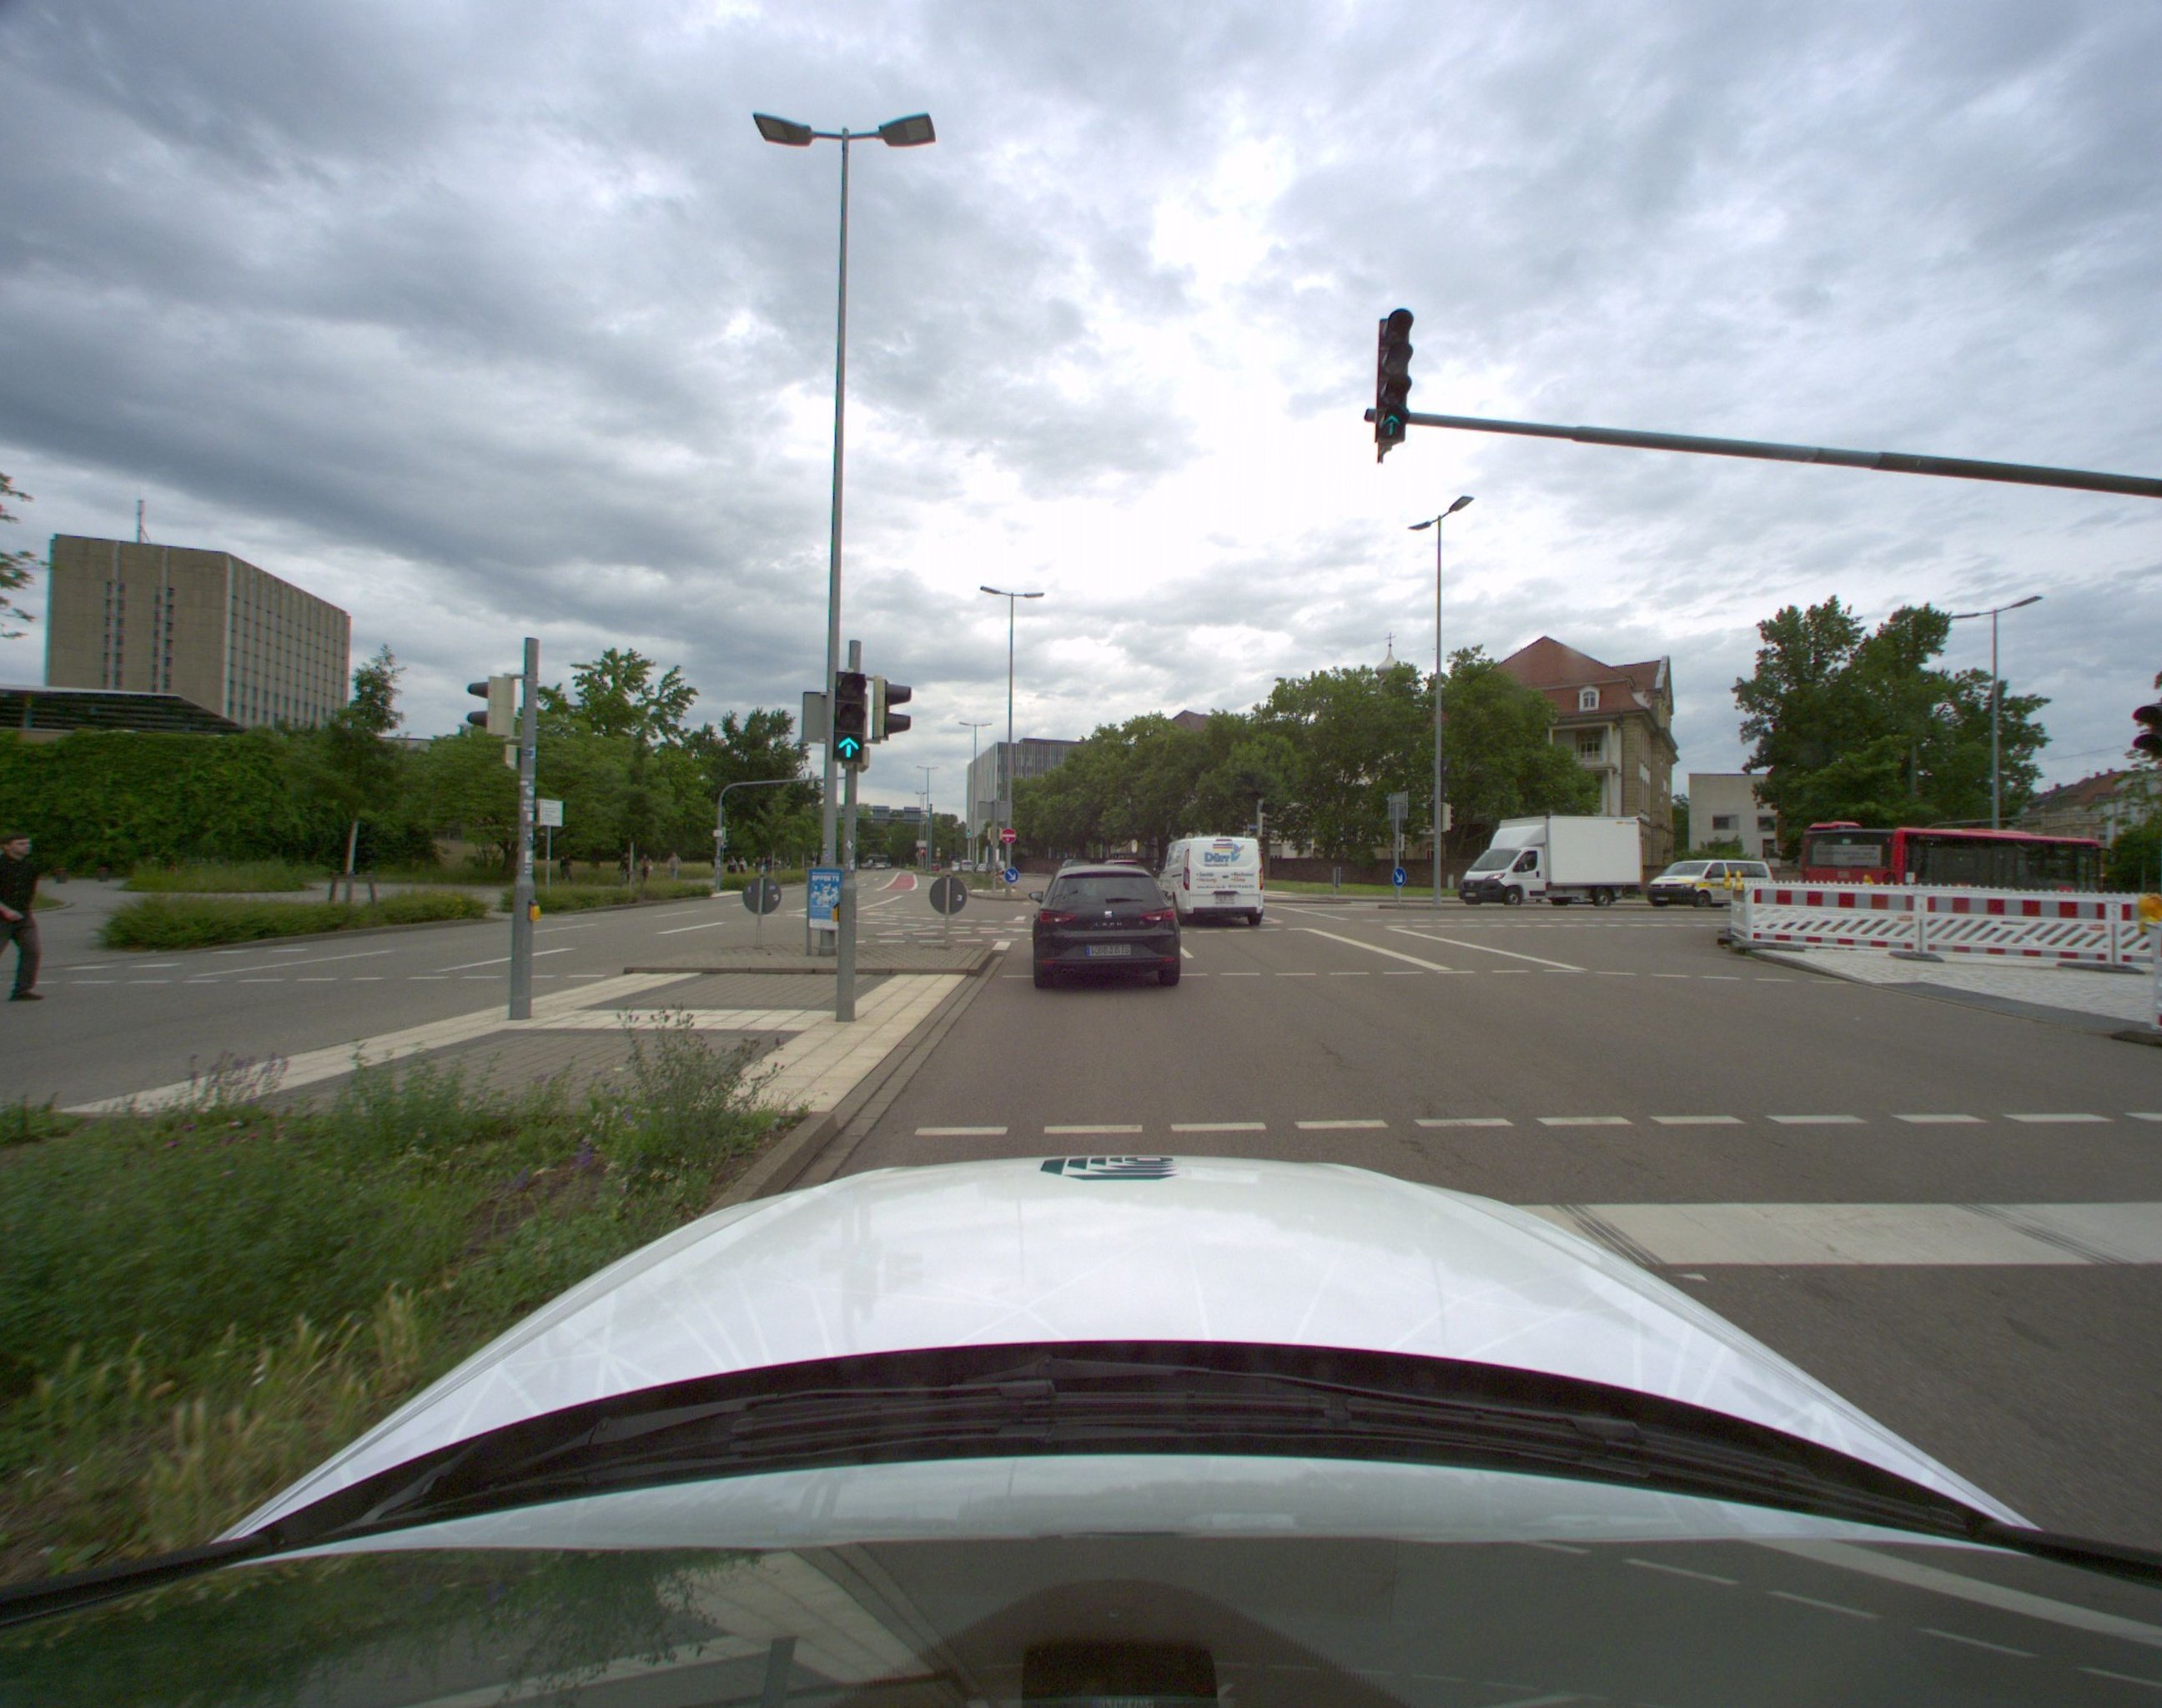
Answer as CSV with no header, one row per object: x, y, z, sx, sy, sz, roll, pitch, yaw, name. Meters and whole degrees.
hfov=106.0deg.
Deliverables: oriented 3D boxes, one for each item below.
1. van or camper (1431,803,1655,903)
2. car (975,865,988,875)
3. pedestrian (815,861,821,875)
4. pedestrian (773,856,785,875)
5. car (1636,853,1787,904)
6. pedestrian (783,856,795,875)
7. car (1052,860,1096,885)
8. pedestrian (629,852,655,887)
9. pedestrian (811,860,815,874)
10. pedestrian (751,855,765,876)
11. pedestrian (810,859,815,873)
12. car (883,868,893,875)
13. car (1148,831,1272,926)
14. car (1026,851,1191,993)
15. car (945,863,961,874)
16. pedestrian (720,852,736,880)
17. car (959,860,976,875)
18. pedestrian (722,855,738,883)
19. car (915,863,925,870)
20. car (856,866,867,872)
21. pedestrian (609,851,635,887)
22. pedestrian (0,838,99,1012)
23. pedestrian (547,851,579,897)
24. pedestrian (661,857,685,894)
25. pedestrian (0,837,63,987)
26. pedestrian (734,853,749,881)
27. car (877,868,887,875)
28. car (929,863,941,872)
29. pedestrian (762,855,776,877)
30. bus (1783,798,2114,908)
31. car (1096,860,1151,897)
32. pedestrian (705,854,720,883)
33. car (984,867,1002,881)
16.660,0.046,29.464,7.143,3.332,2.861,1,-2,-16,van or camper
-14.577,2.317,119.364,1.528,1.365,2.954,1,-1,-15,car
-38.369,2.000,118.852,0.721,2.014,0.780,1,-1,-6,pedestrian
-29.443,1.106,79.303,0.919,1.779,1.060,1,-1,-11,pedestrian
24.459,0.991,31.630,4.998,1.865,1.989,1,-4,-16,car
-28.539,1.110,79.501,0.919,1.779,1.060,1,-1,-11,pedestrian
-0.504,1.189,53.993,1.996,1.566,4.185,1,-1,-14,car
-22.125,0.788,41.092,0.753,1.713,1.046,0,-1,-3,pedestrian
-42.306,2.094,128.522,0.470,2.156,0.474,1,-1,-7,pedestrian
-27.310,0.990,68.818,0.919,1.779,1.060,1,-1,-11,pedestrian
-40.472,1.837,122.705,0.666,2.014,0.594,1,-1,-6,pedestrian
-49.882,4.412,210.406,2.002,1.780,3.970,1,-1,-23,car
2.981,0.559,19.984,1.989,2.019,5.025,1,-1,-4,car
0.228,0.800,10.921,1.741,1.464,3.996,-3,-2,-2,car
-20.120,2.271,127.979,1.996,1.640,3.980,1,-1,-14,car
-25.662,0.887,59.279,0.754,2.014,1.044,1,-1,-7,pedestrian
-15.697,1.890,112.463,1.996,2.014,3.980,1,-1,-14,car
-23.587,1.002,54.749,0.713,1.870,0.756,1,-1,-6,pedestrian
-29.946,2.343,151.472,1.714,1.265,3.323,1,-1,-15,car
-51.456,3.572,190.571,1.888,1.416,3.823,1,-1,-25,car
-22.968,0.732,40.767,0.753,1.765,0.905,0,-1,-3,pedestrian
-11.909,0.749,9.007,1.043,1.842,0.867,0,-1,6,pedestrian
-23.171,0.885,36.475,0.753,2.014,1.046,0,-1,-3,pedestrian
-22.420,1.178,44.762,0.753,2.014,1.046,0,-1,-3,pedestrian
-13.691,0.715,10.258,0.888,1.842,0.668,0,-1,6,pedestrian
-24.763,0.955,59.446,0.754,2.014,1.044,1,-1,-7,pedestrian
-41.779,3.711,171.070,1.692,1.416,3.620,1,-1,-19,car
-27.730,2.578,154.389,1.997,1.682,3.990,1,-1,-14,car
-26.412,1.016,69.016,0.919,1.779,1.060,1,-1,-11,pedestrian
29.739,0.100,27.812,12.376,3.298,3.048,1,-1,-19,bus
1.895,1.073,37.408,1.856,1.600,4.195,1,-1,-7,car
-24.659,0.970,54.546,0.713,1.870,0.756,1,-1,-7,pedestrian
-11.725,2.658,108.442,1.920,1.684,3.980,1,-1,-14,car
